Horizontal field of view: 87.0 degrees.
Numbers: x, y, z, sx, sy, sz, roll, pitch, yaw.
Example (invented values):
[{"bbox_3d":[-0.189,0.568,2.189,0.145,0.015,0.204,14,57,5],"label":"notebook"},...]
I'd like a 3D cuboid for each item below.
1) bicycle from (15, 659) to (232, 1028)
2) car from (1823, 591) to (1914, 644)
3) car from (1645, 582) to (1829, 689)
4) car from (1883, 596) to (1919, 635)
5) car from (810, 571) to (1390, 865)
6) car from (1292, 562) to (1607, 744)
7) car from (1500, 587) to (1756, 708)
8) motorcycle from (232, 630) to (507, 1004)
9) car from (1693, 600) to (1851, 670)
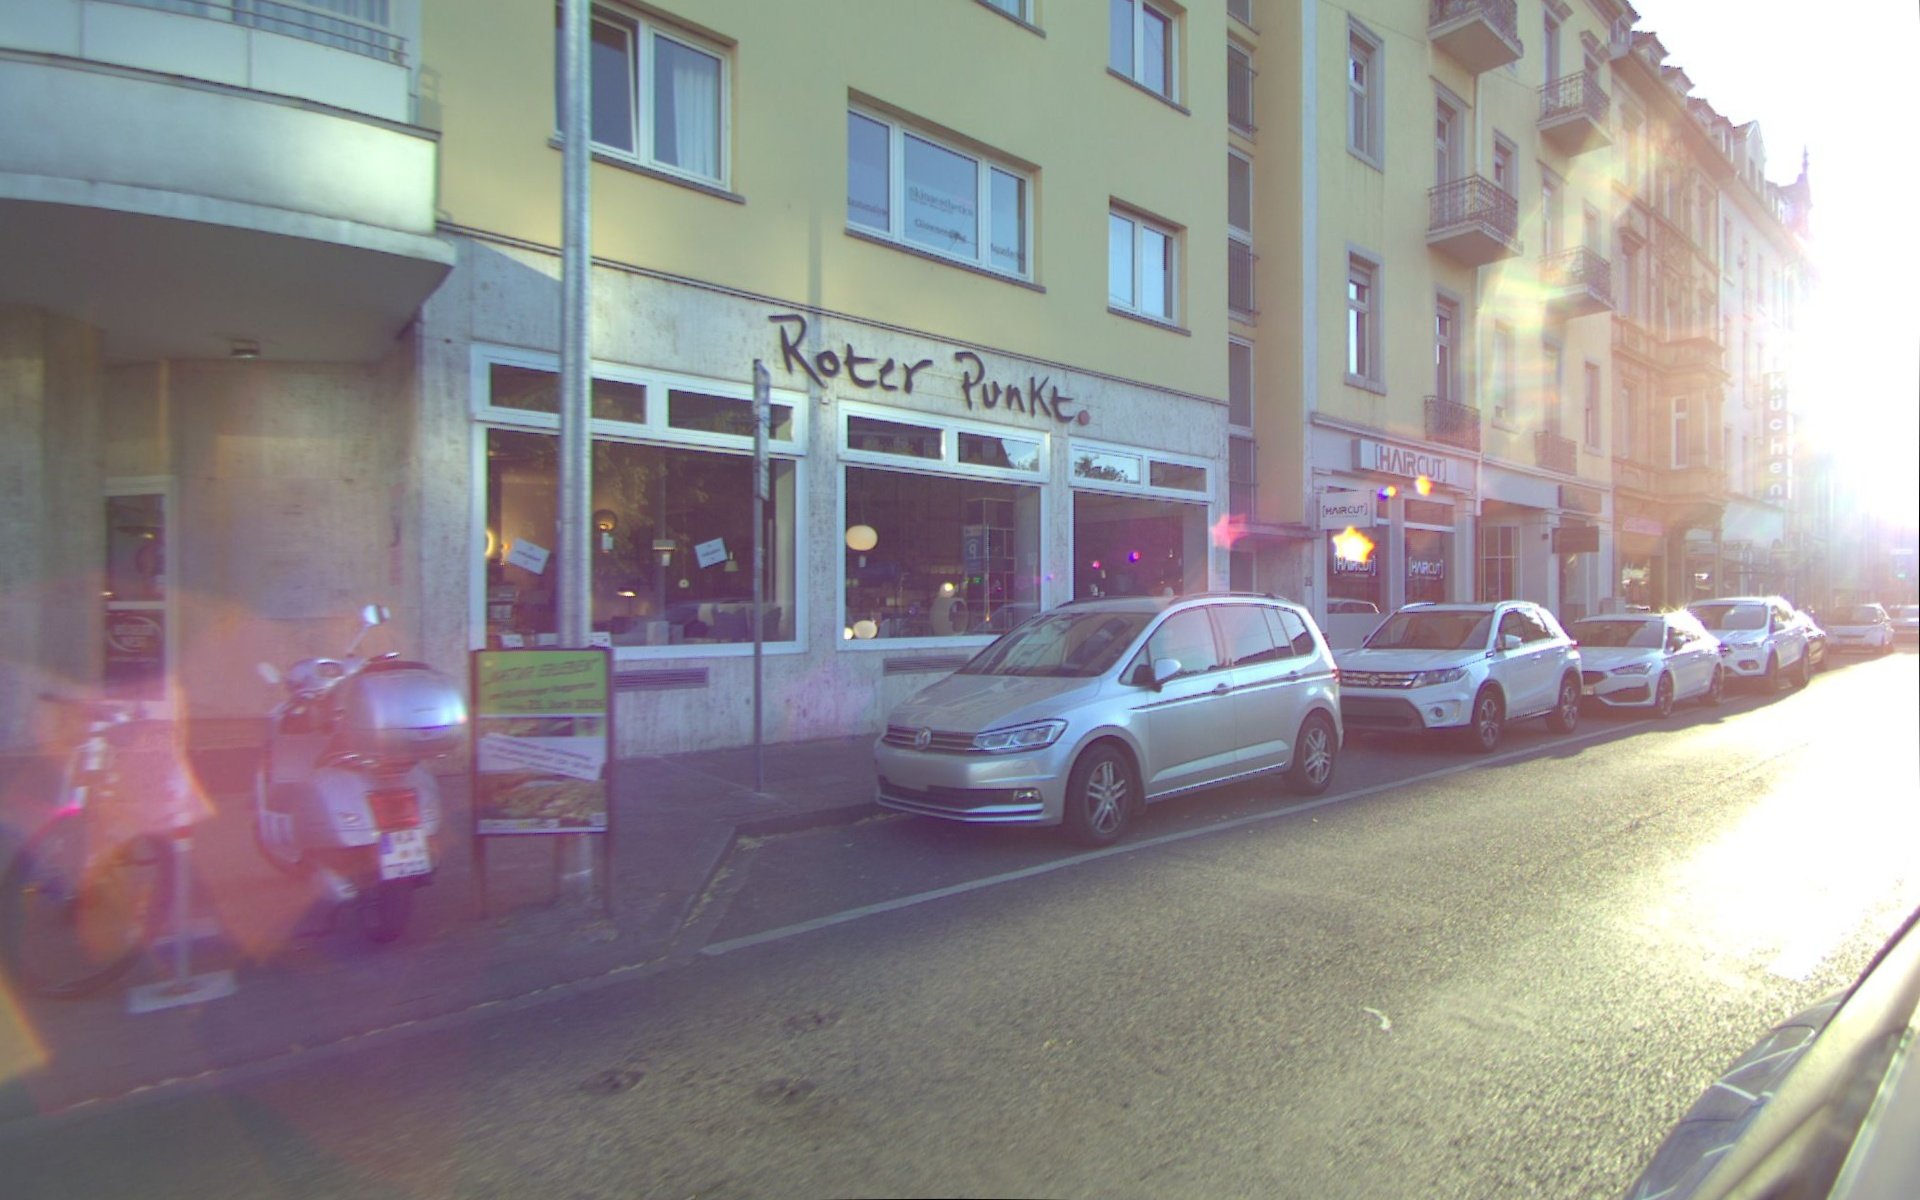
[{"bbox_3d":[-3.615,0.874,4.312,0.583,1.126,1.886,1,0,-43],"label":"bicycle"},{"bbox_3d":[29.473,0.582,32.794,3.929,1.605,1.703,2,-1,-41],"label":"car"},{"bbox_3d":[14.587,0.634,18.906,4.577,1.767,1.885,2,-2,-41],"label":"car"},{"bbox_3d":[39.417,0.671,41.426,4.601,1.555,1.996,2,-1,-42],"label":"car"},{"bbox_3d":[1.344,0.649,7.980,4.722,1.633,1.996,0,0,-42],"label":"car"},{"bbox_3d":[5.968,0.568,12.092,4.331,1.785,1.870,2,-2,-41],"label":"car"},{"bbox_3d":[10.264,0.672,15.409,4.782,1.563,2.019,2,-1,-40],"label":"car"},{"bbox_3d":[-2.744,0.819,4.606,0.704,1.279,1.814,0,1,-43],"label":"motorcycle"},{"bbox_3d":[18.751,0.731,23.289,4.765,1.452,1.997,0,-1,-41],"label":"car"}]
